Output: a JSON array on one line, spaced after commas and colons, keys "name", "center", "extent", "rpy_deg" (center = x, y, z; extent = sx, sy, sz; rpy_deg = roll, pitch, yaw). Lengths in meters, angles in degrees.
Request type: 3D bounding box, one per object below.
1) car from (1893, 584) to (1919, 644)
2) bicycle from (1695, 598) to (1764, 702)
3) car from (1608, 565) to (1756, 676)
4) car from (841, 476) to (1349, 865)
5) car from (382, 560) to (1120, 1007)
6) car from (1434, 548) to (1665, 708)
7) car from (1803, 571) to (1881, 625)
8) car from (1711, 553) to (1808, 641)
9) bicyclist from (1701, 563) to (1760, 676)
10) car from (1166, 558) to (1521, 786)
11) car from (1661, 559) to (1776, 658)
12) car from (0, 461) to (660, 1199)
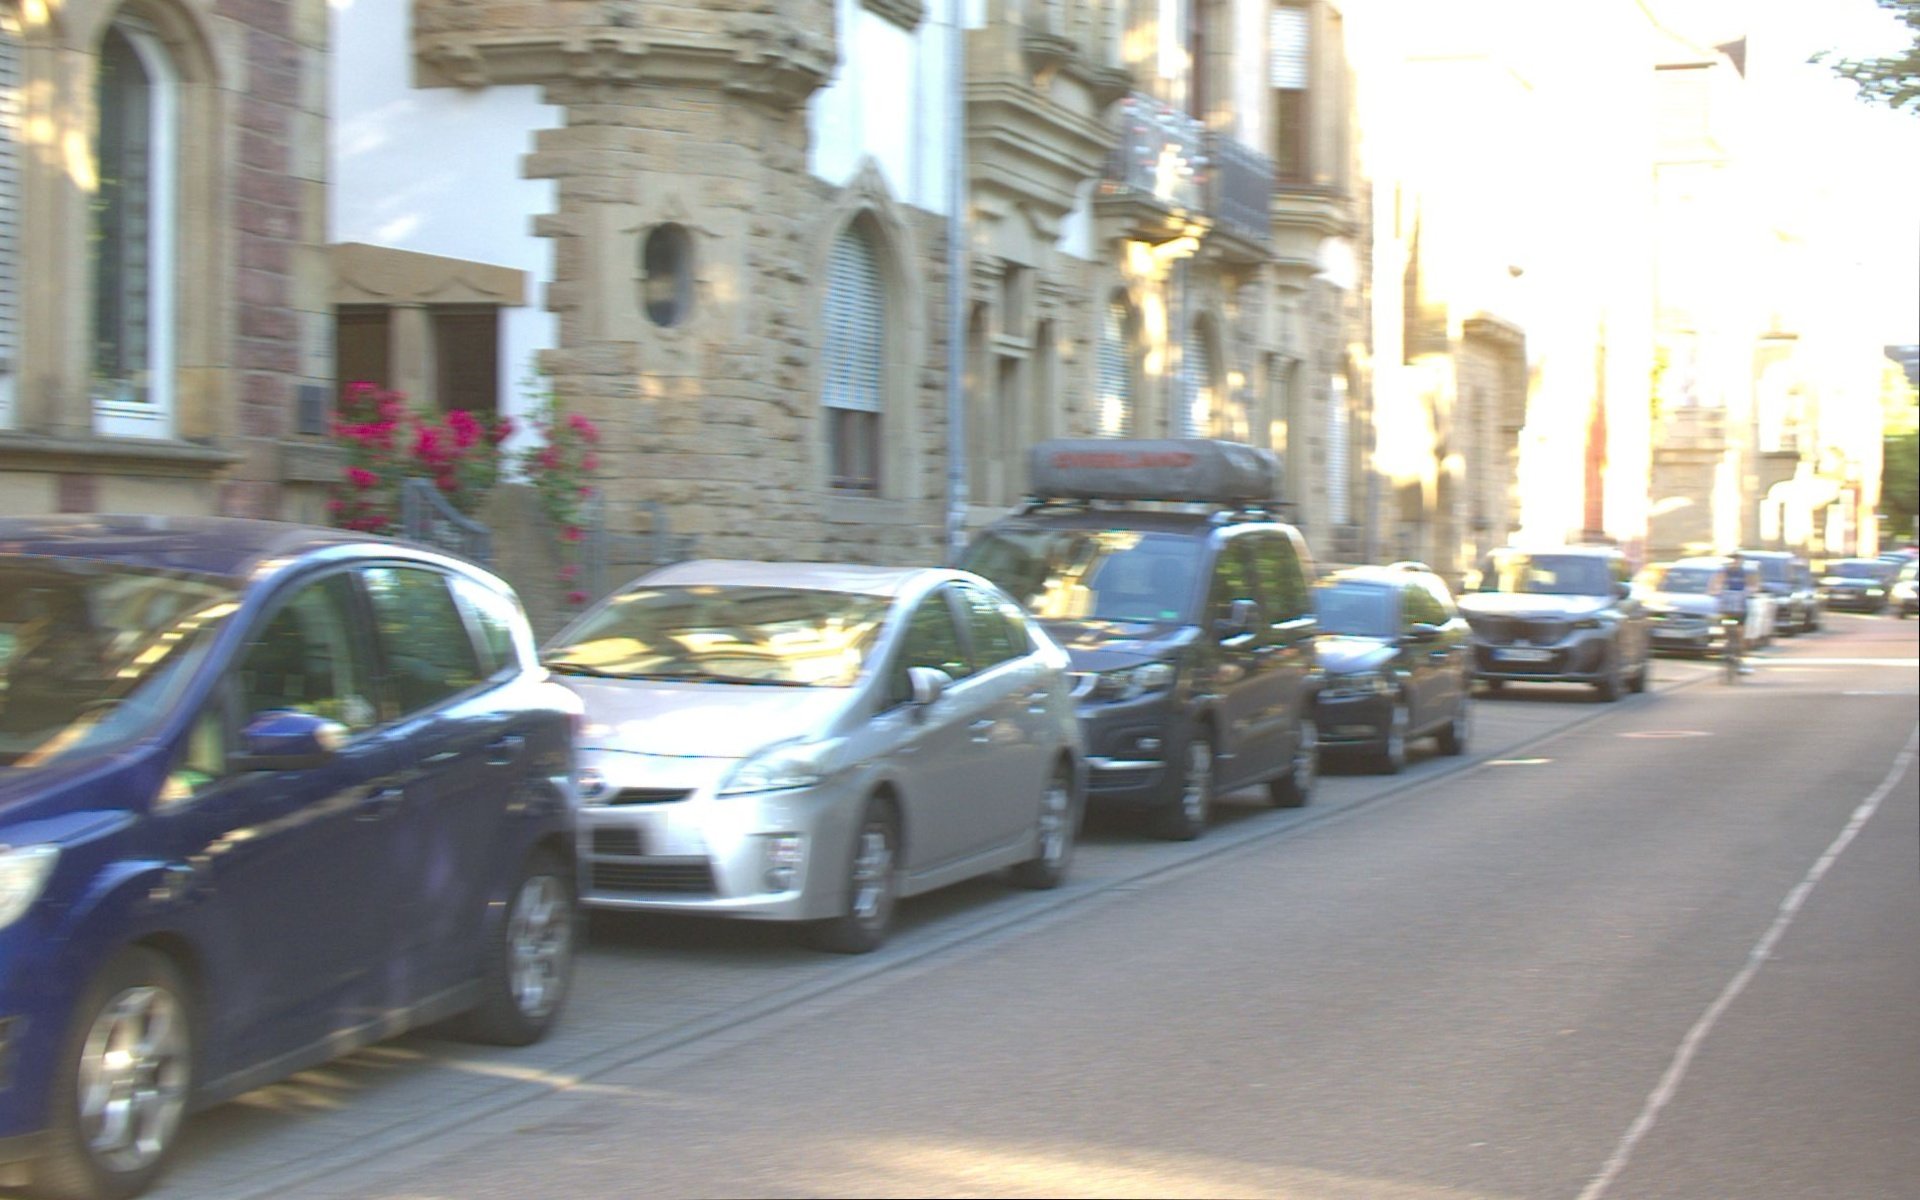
[{"name": "car", "center": [24.718, 0.354, 87.289], "extent": [1.898, 1.481, 4.378], "rpy_deg": [0, 0, 14]}, {"name": "bicycle", "center": [9.495, 0.595, 42.355], "extent": [0.753, 1.174, 2.619], "rpy_deg": [-1, 1, 14]}, {"name": "car", "center": [11.145, 0.288, 52.886], "extent": [1.756, 1.512, 4.111], "rpy_deg": [4, 2, 17]}, {"name": "car", "center": [0.930, 0.314, 20.145], "extent": [1.970, 1.967, 4.495], "rpy_deg": [2, 1, 15]}, {"name": "car", "center": [-0.674, 0.620, 14.458], "extent": [1.731, 1.493, 4.452], "rpy_deg": [2, 1, 15]}, {"name": "car", "center": [6.467, 0.293, 37.362], "extent": [2.051, 1.616, 4.392], "rpy_deg": [0, 0, 15]}, {"name": "car", "center": [24.928, -0.043, 97.082], "extent": [1.995, 1.481, 3.997], "rpy_deg": [0, 0, 16]}, {"name": "car", "center": [15.724, -0.048, 67.484], "extent": [1.632, 1.660, 3.965], "rpy_deg": [0, 0, 16]}, {"name": "bicyclist", "center": [9.487, 0.233, 42.325], "extent": [0.665, 1.340, 1.059], "rpy_deg": [-1, 1, 14]}, {"name": "car", "center": [3.028, 0.505, 26.235], "extent": [1.731, 1.569, 4.704], "rpy_deg": [0, 0, 18]}, {"name": "car", "center": [12.877, 0.125, 58.243], "extent": [1.492, 1.512, 3.772], "rpy_deg": [4, 2, 17]}, {"name": "car", "center": [-2.402, 0.493, 9.456], "extent": [1.731, 1.616, 4.255], "rpy_deg": [2, 0, 15]}]
